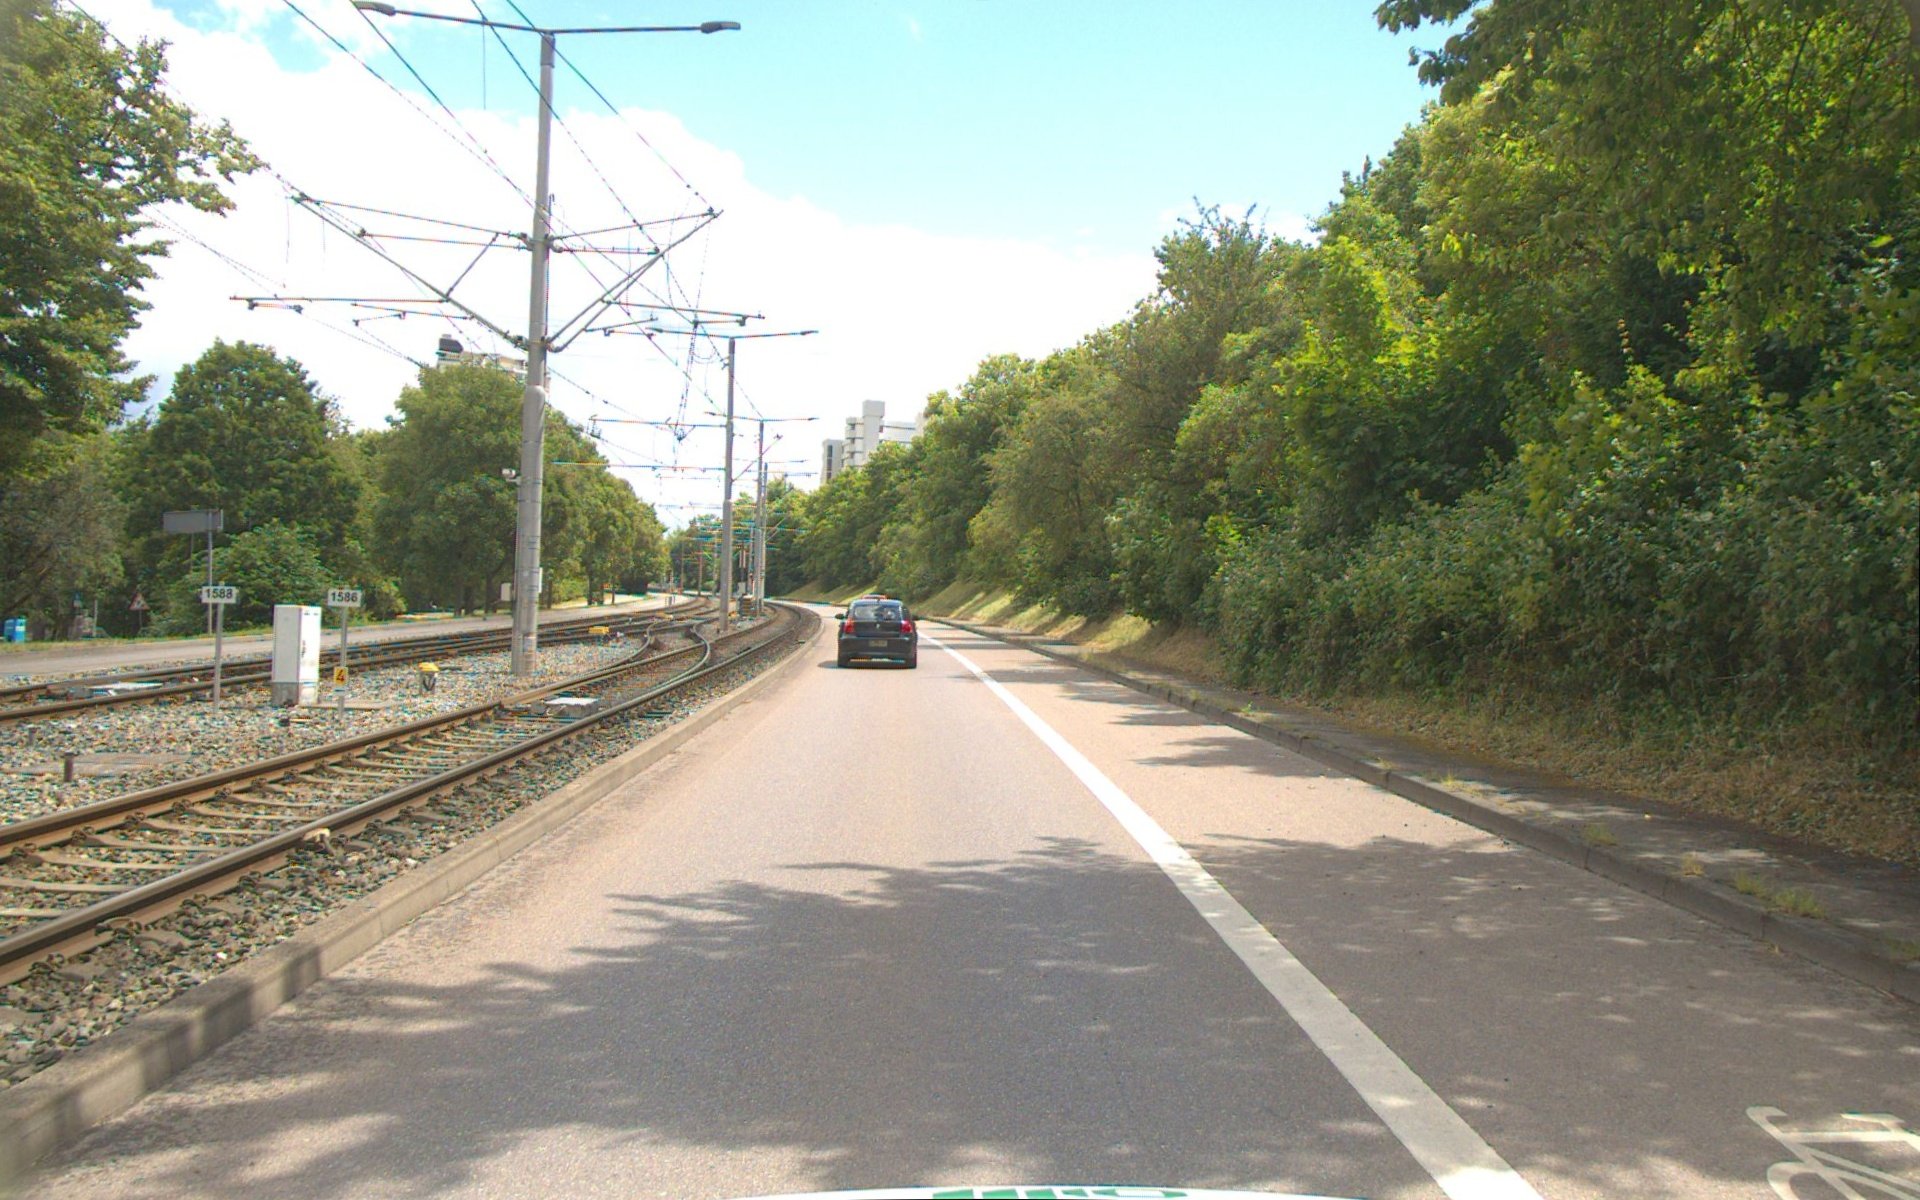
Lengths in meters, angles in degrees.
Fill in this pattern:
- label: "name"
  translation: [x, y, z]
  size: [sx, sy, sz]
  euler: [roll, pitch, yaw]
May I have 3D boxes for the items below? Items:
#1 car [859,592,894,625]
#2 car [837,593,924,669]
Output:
- label: "car"
  translation: [-4.008, 0.389, 79.184]
  size: [1.592, 1.468, 3.419]
  euler: [3, 0, -3]
- label: "car"
  translation: [-1.680, 0.664, 36.028]
  size: [1.674, 1.486, 3.959]
  euler: [3, -1, -1]
